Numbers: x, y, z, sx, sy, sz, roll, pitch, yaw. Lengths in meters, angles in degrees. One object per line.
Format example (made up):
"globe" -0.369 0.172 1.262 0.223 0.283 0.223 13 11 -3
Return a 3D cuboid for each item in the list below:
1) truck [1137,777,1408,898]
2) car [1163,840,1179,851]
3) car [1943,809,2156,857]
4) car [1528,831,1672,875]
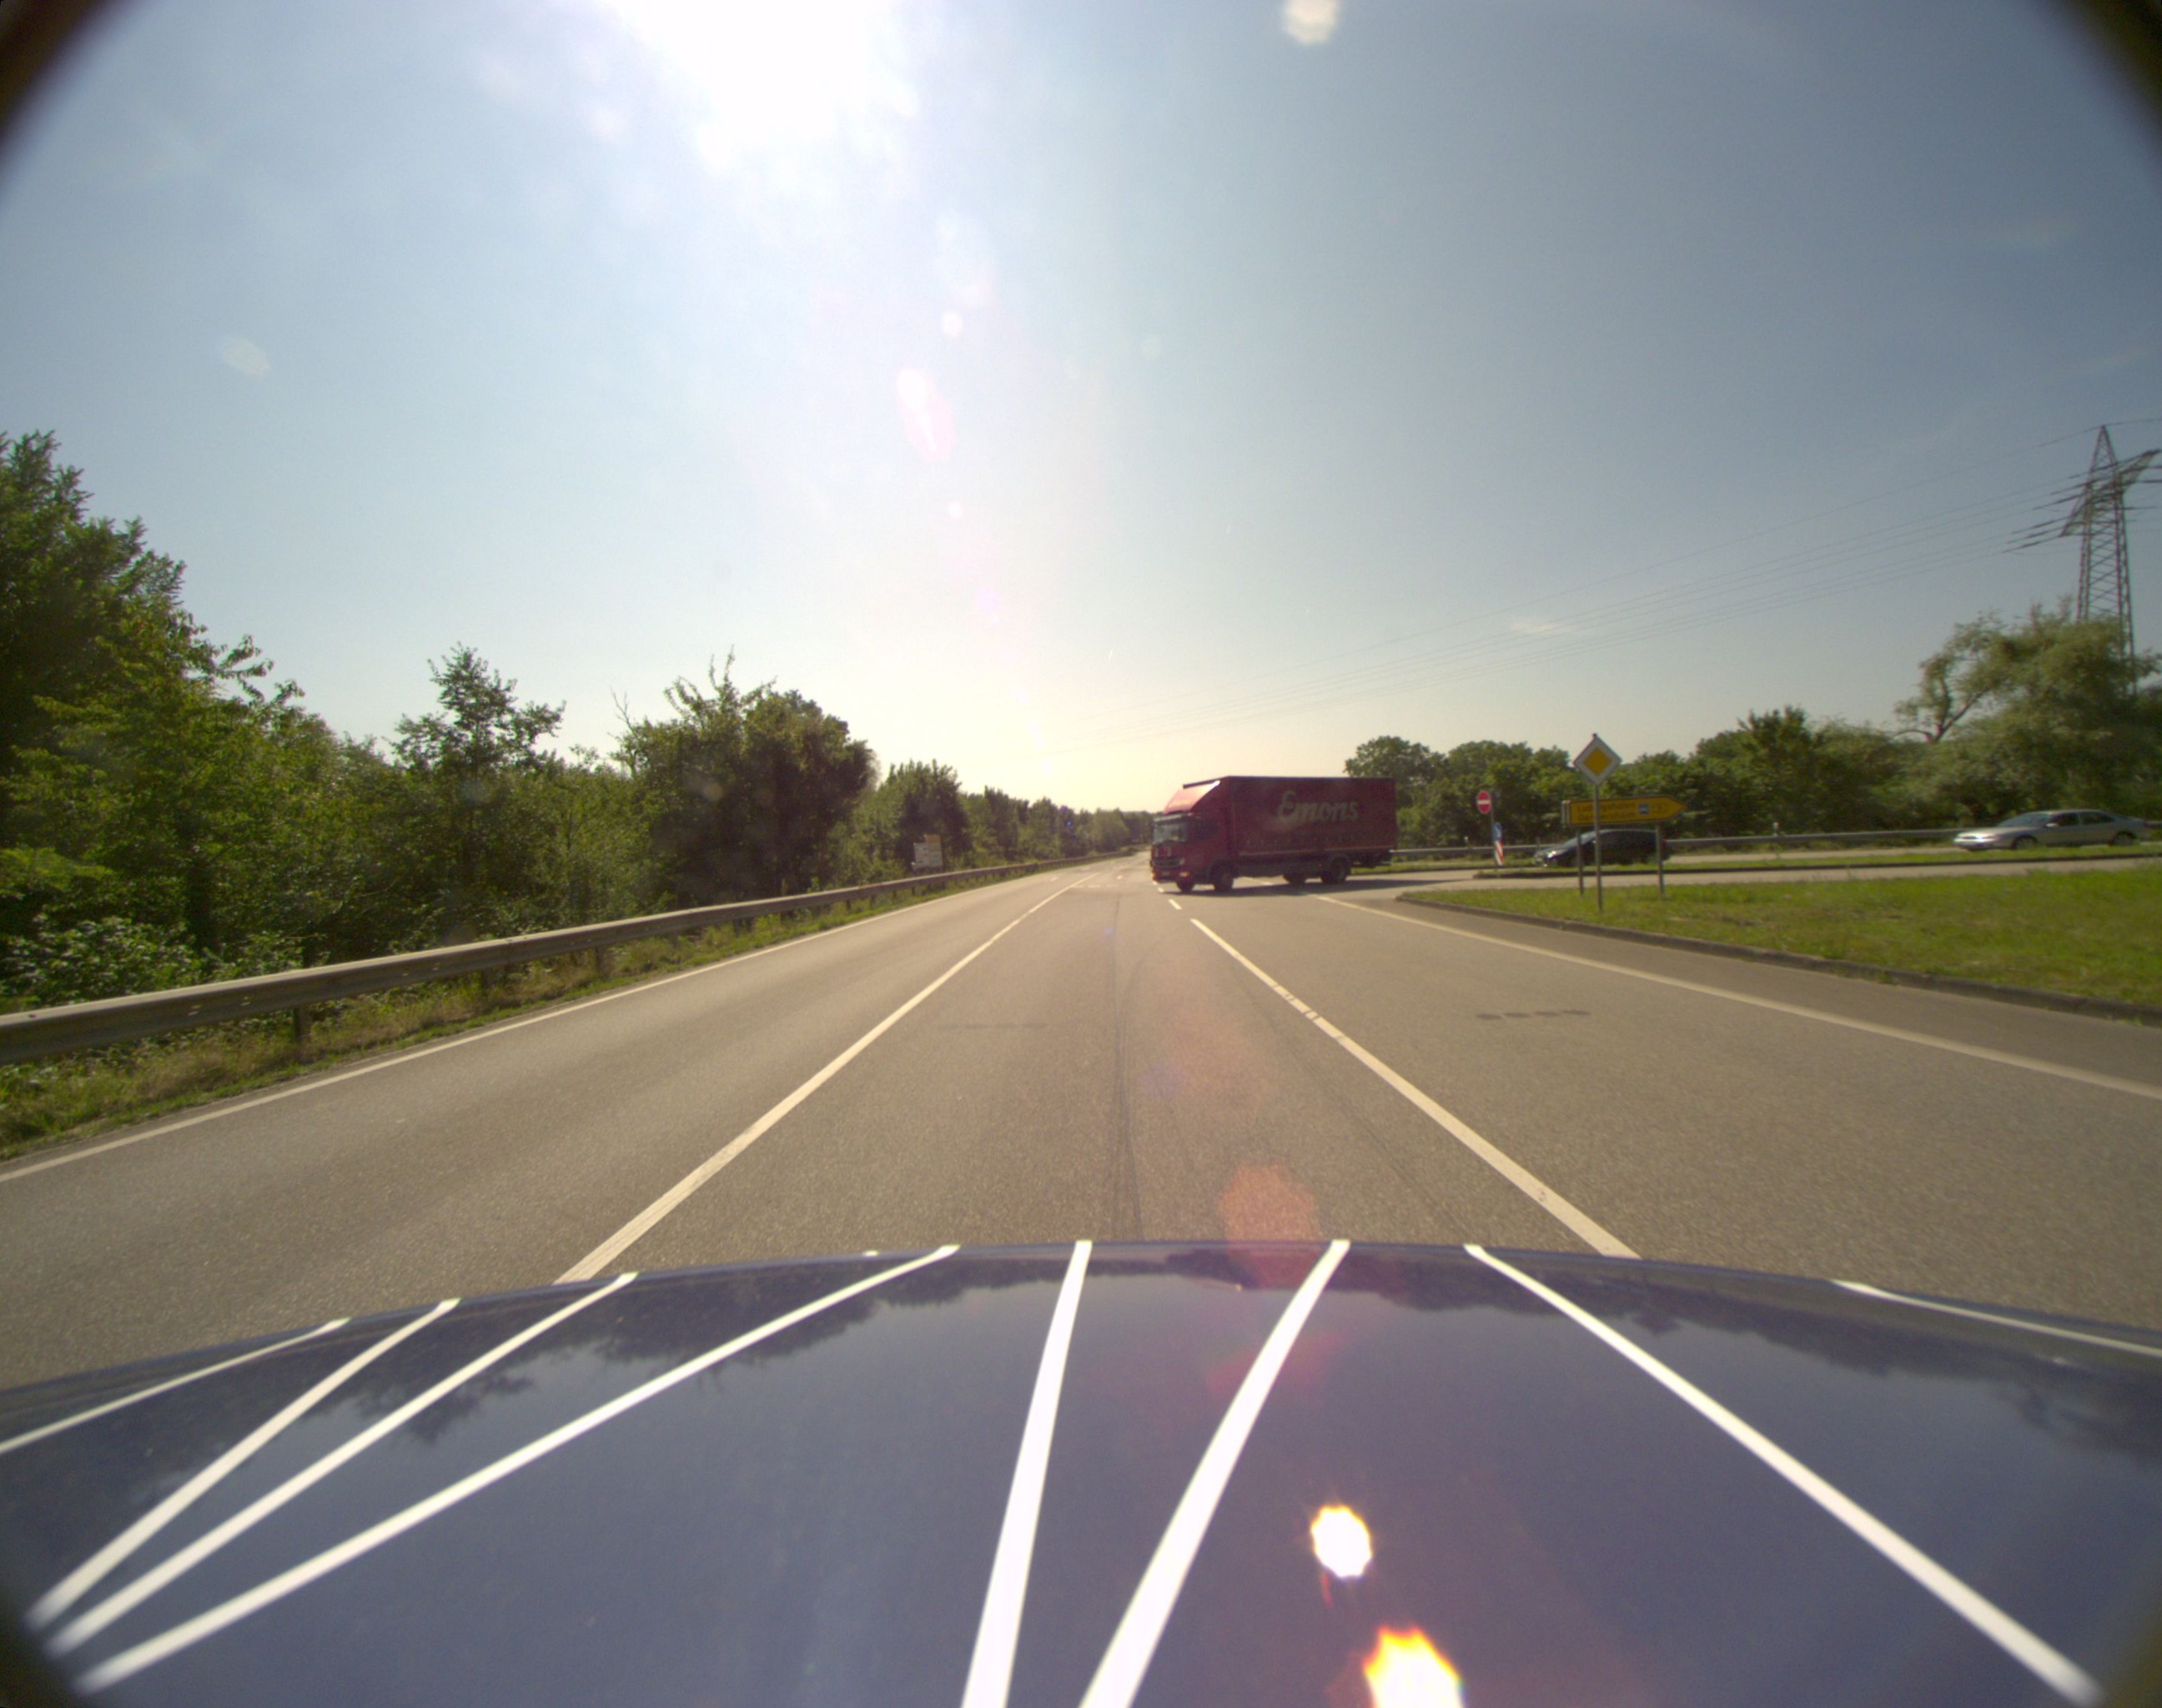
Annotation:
"truck" 6.712 -0.683 26.113 9.272 3.641 2.686 -3 1 -24
"car" 15.992 -1.581 135.065 1.996 1.868 4.999 -2 0 15
"car" 32.959 -0.696 26.007 4.371 1.377 1.790 -2 1 12
"car" 19.068 -0.036 28.061 3.995 1.406 1.789 -2 1 6
